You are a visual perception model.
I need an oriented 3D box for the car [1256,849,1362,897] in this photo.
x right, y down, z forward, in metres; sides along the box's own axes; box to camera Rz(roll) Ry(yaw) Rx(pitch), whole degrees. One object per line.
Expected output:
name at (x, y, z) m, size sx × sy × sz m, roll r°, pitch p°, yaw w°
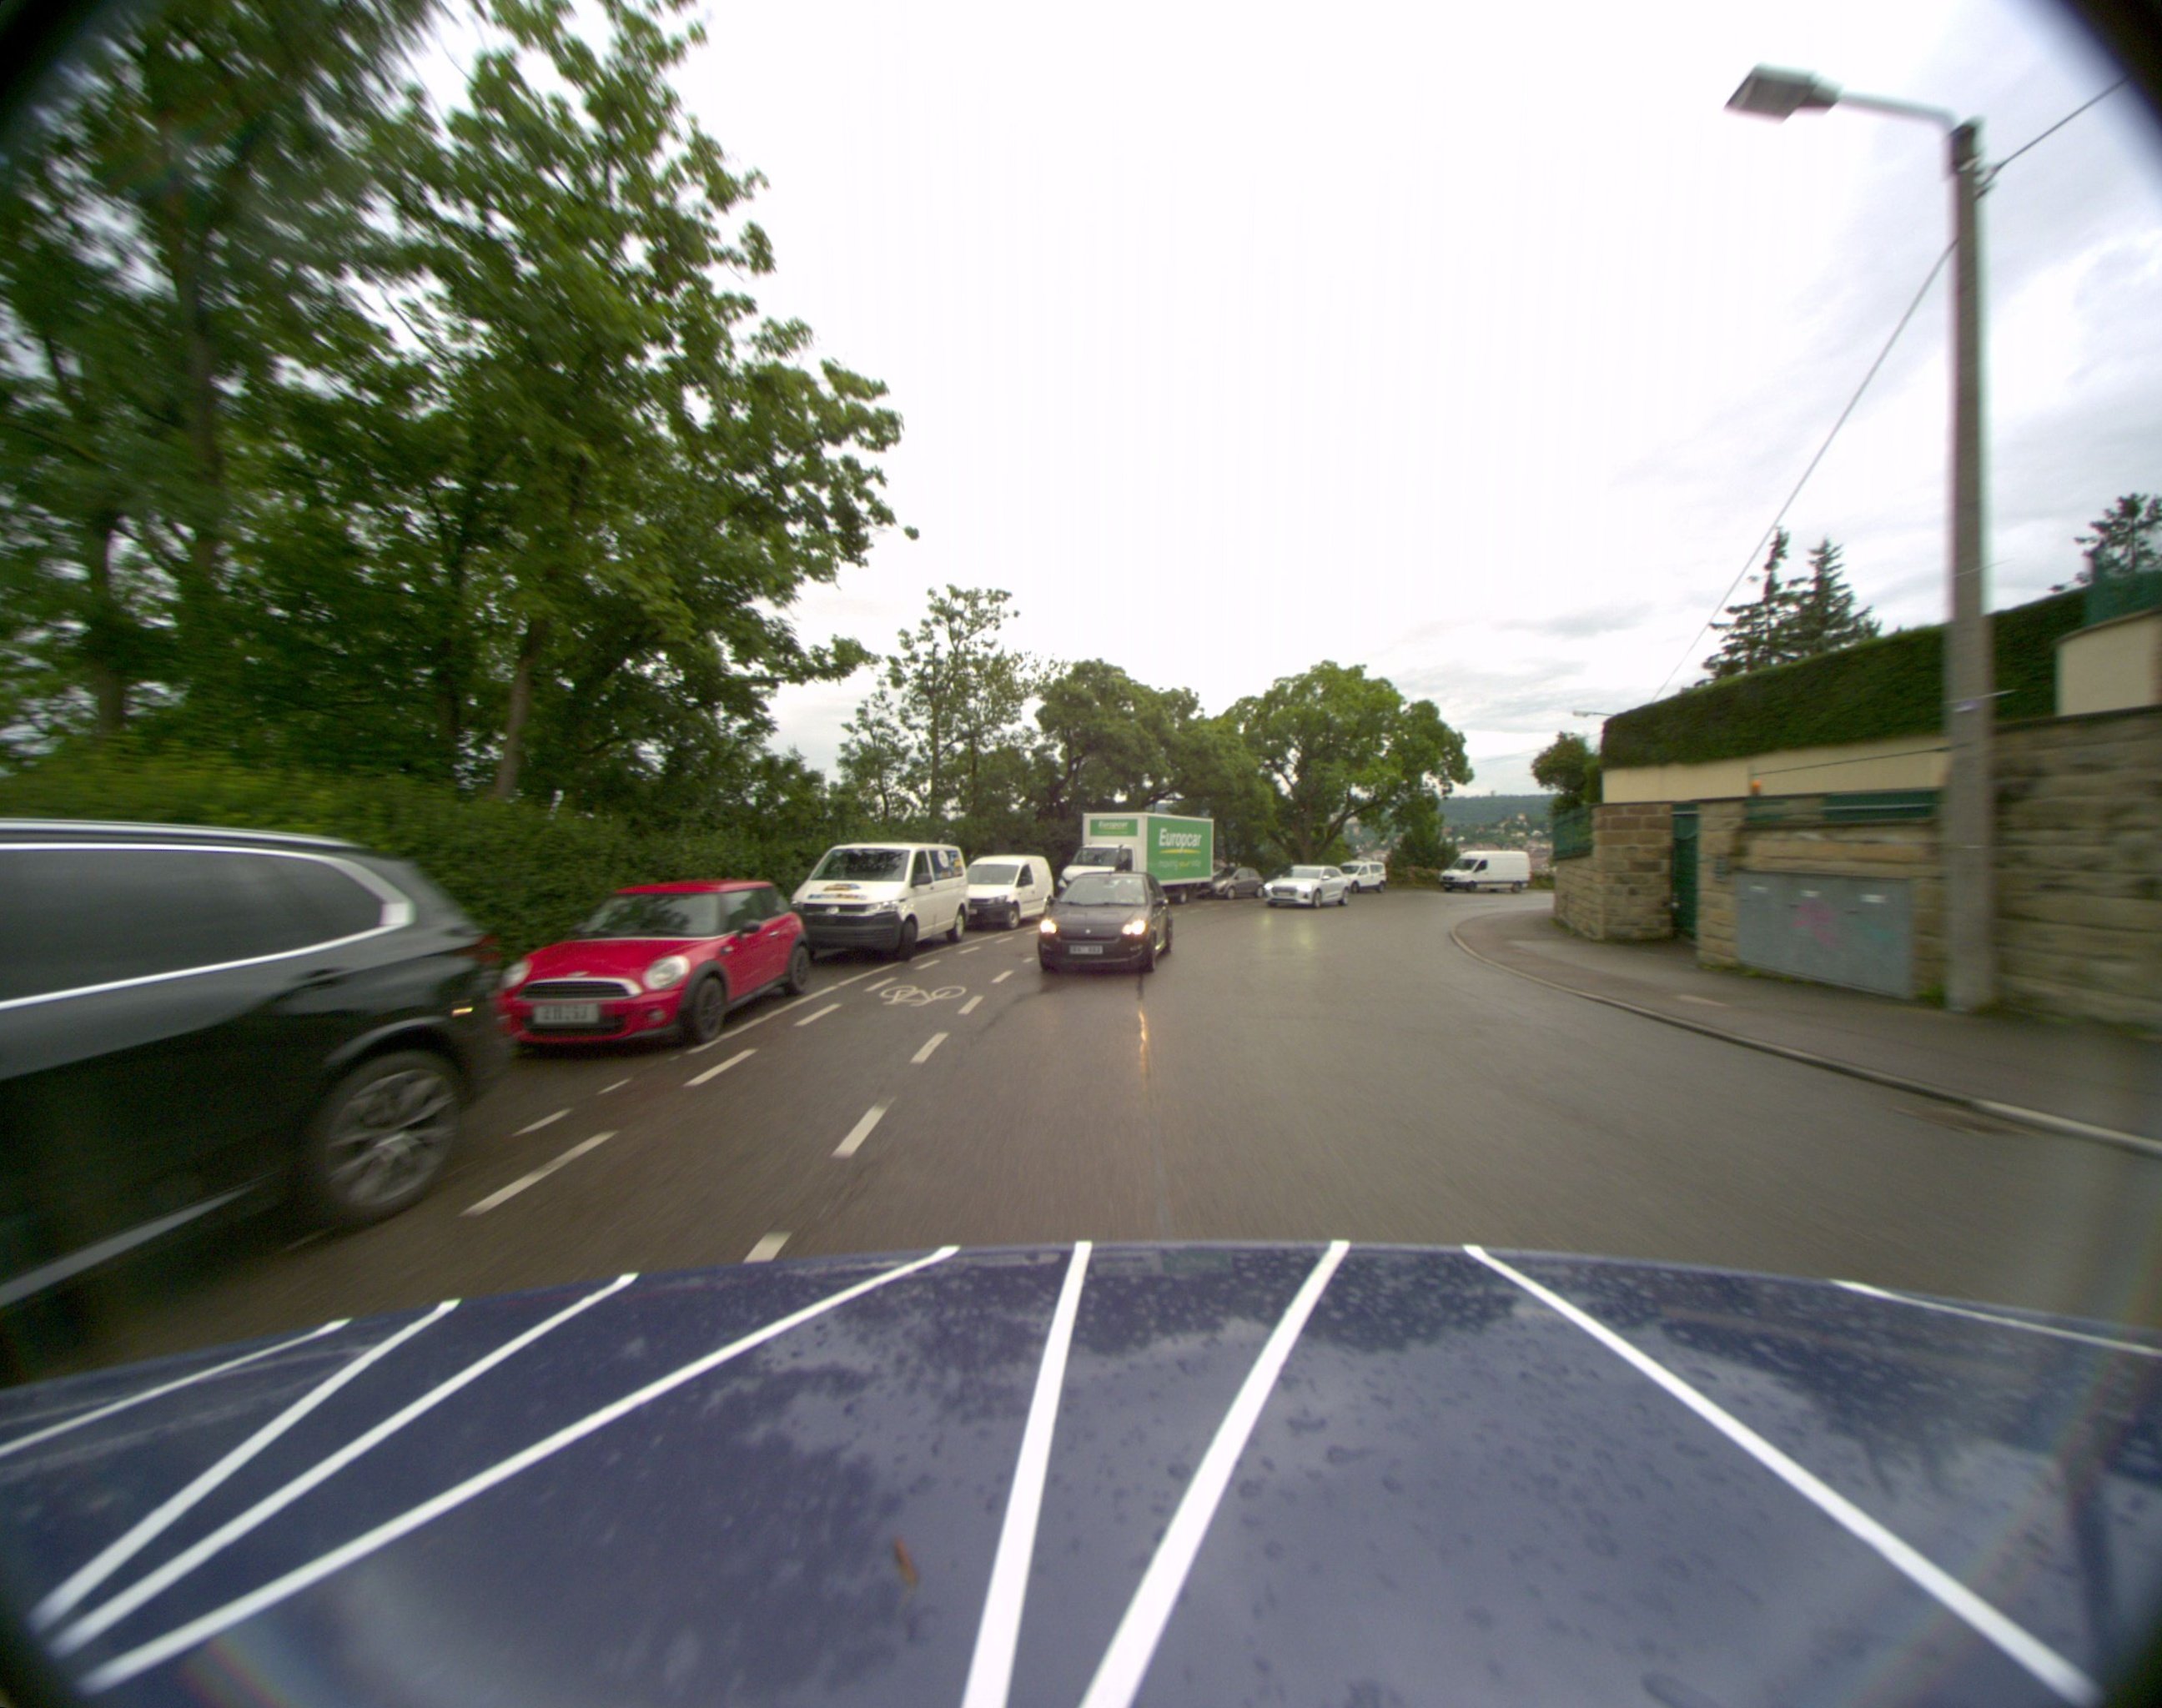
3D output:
car at (9.134, 0.672, 30.199) m, size 2.186 × 1.698 × 4.893 m, roll 2°, pitch 2°, yaw 41°

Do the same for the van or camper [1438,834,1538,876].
van or camper at (25.572, 0.062, 47.788) m, size 5.893 × 2.566 × 2.070 m, roll 0°, pitch 1°, yaw -19°

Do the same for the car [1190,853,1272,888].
car at (6.968, 0.731, 35.096) m, size 1.734 × 1.494 × 4.145 m, roll 2°, pitch 1°, yaw 43°

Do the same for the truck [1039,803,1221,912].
truck at (2.187, 0.095, 28.516) m, size 2.774 × 3.450 × 8.952 m, roll 2°, pitch 1°, yaw 32°

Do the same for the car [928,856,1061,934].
car at (-2.061, 0.974, 19.525) m, size 1.862 × 1.760 × 4.384 m, roll -1°, pitch -1°, yaw 16°

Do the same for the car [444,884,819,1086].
car at (-4.145, 1.094, 7.798) m, size 1.675 × 1.405 × 3.742 m, roll -1°, pitch 0°, yaw -2°

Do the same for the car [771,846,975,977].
car at (-3.475, 0.865, 13.788) m, size 1.863 × 1.936 × 4.810 m, roll 0°, pitch 0°, yaw 7°

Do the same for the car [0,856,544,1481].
car at (-4.107, 0.915, 1.867) m, size 2.032 × 1.772 × 4.899 m, roll -1°, pitch 0°, yaw 0°

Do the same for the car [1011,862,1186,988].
car at (0.493, 0.910, 11.593) m, size 1.782 × 1.477 × 4.411 m, roll 2°, pitch -1°, yaw 13°

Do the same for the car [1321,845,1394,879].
car at (15.565, 0.447, 42.733) m, size 4.433 × 1.810 × 1.747 m, roll 1°, pitch 1°, yaw -39°

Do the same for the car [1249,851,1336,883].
car at (10.941, 0.680, 39.140) m, size 4.905 × 1.533 × 1.860 m, roll 1°, pitch 0°, yaw -40°
